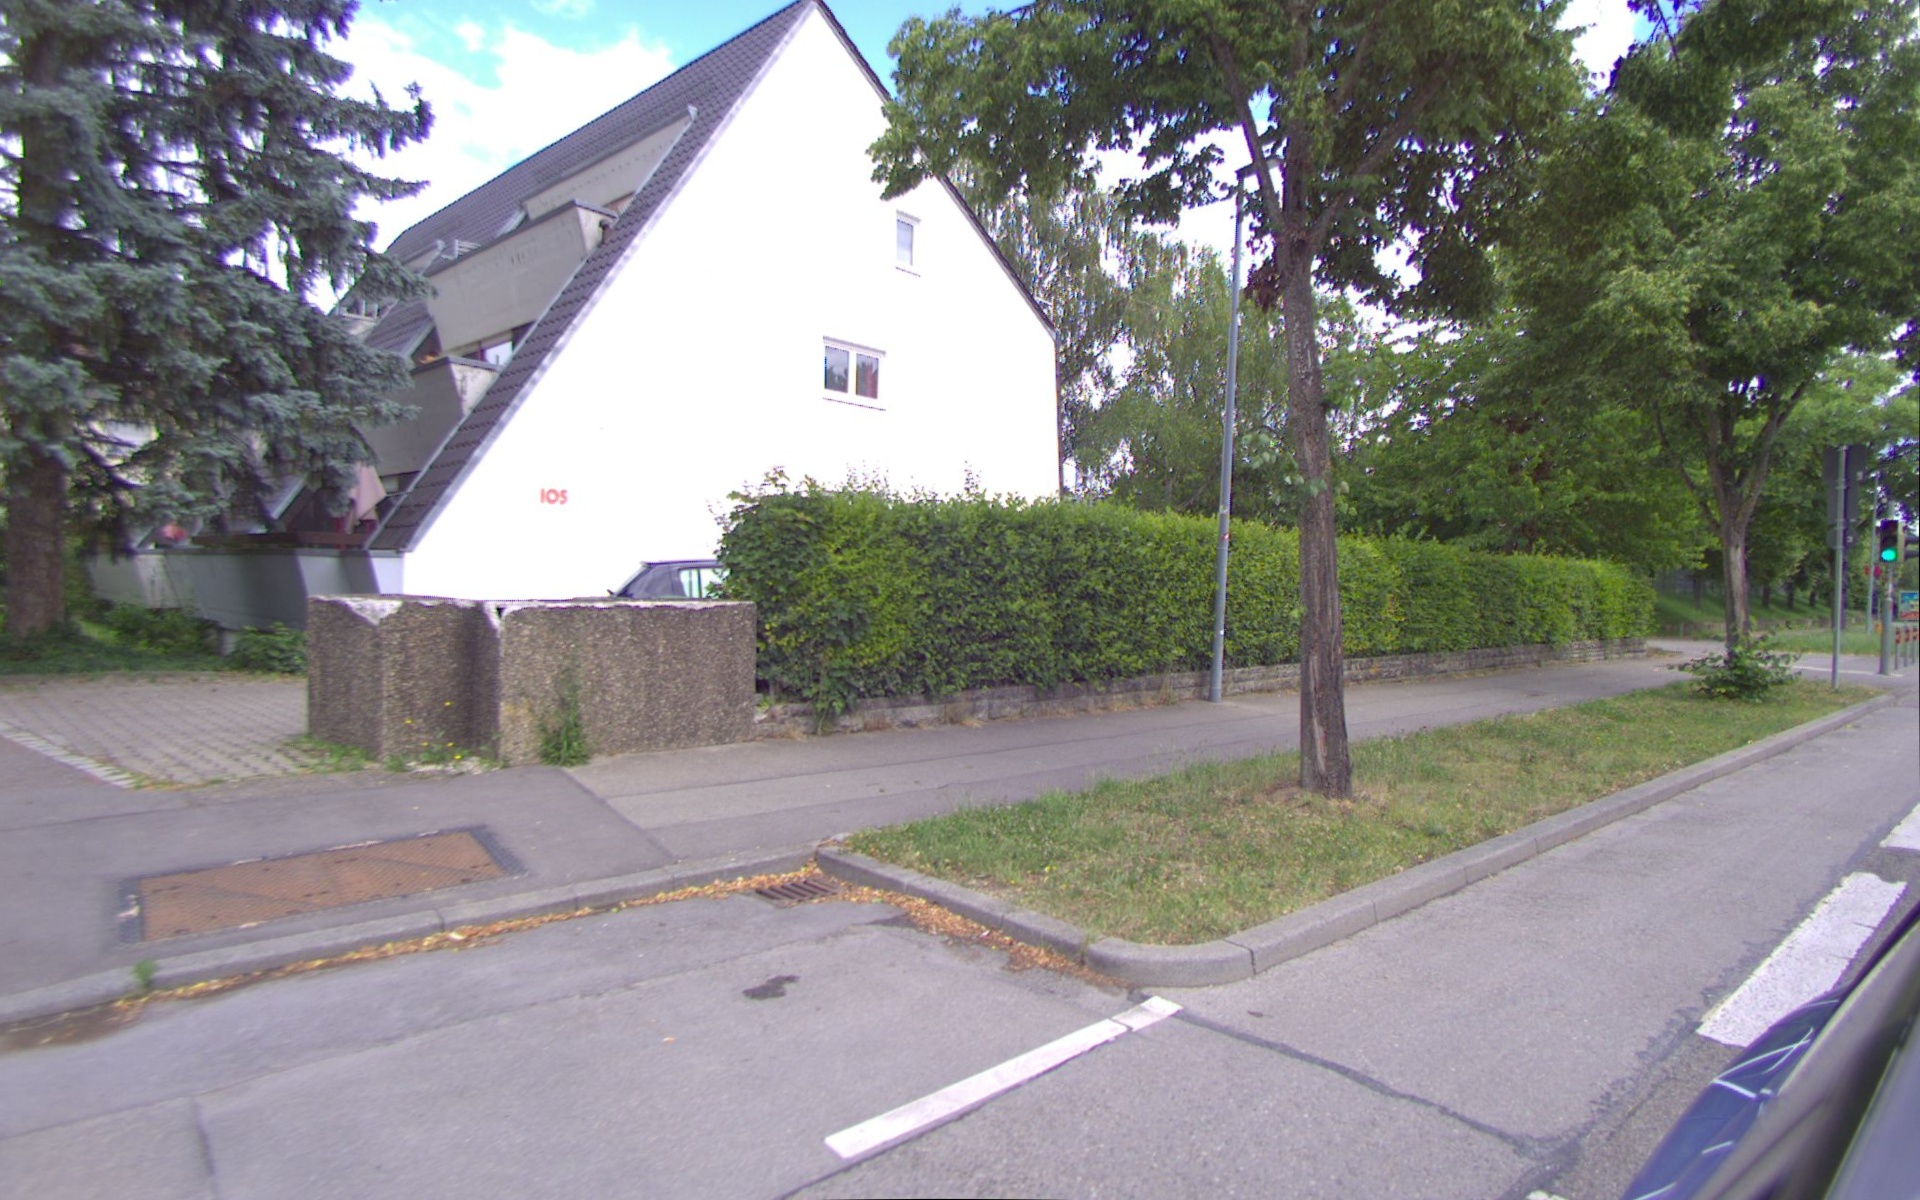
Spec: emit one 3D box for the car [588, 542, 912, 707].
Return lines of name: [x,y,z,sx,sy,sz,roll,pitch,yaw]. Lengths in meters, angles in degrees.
car: [-2.268,0.234,10.924,3.151,1.587,1.655,1,1,-17]
